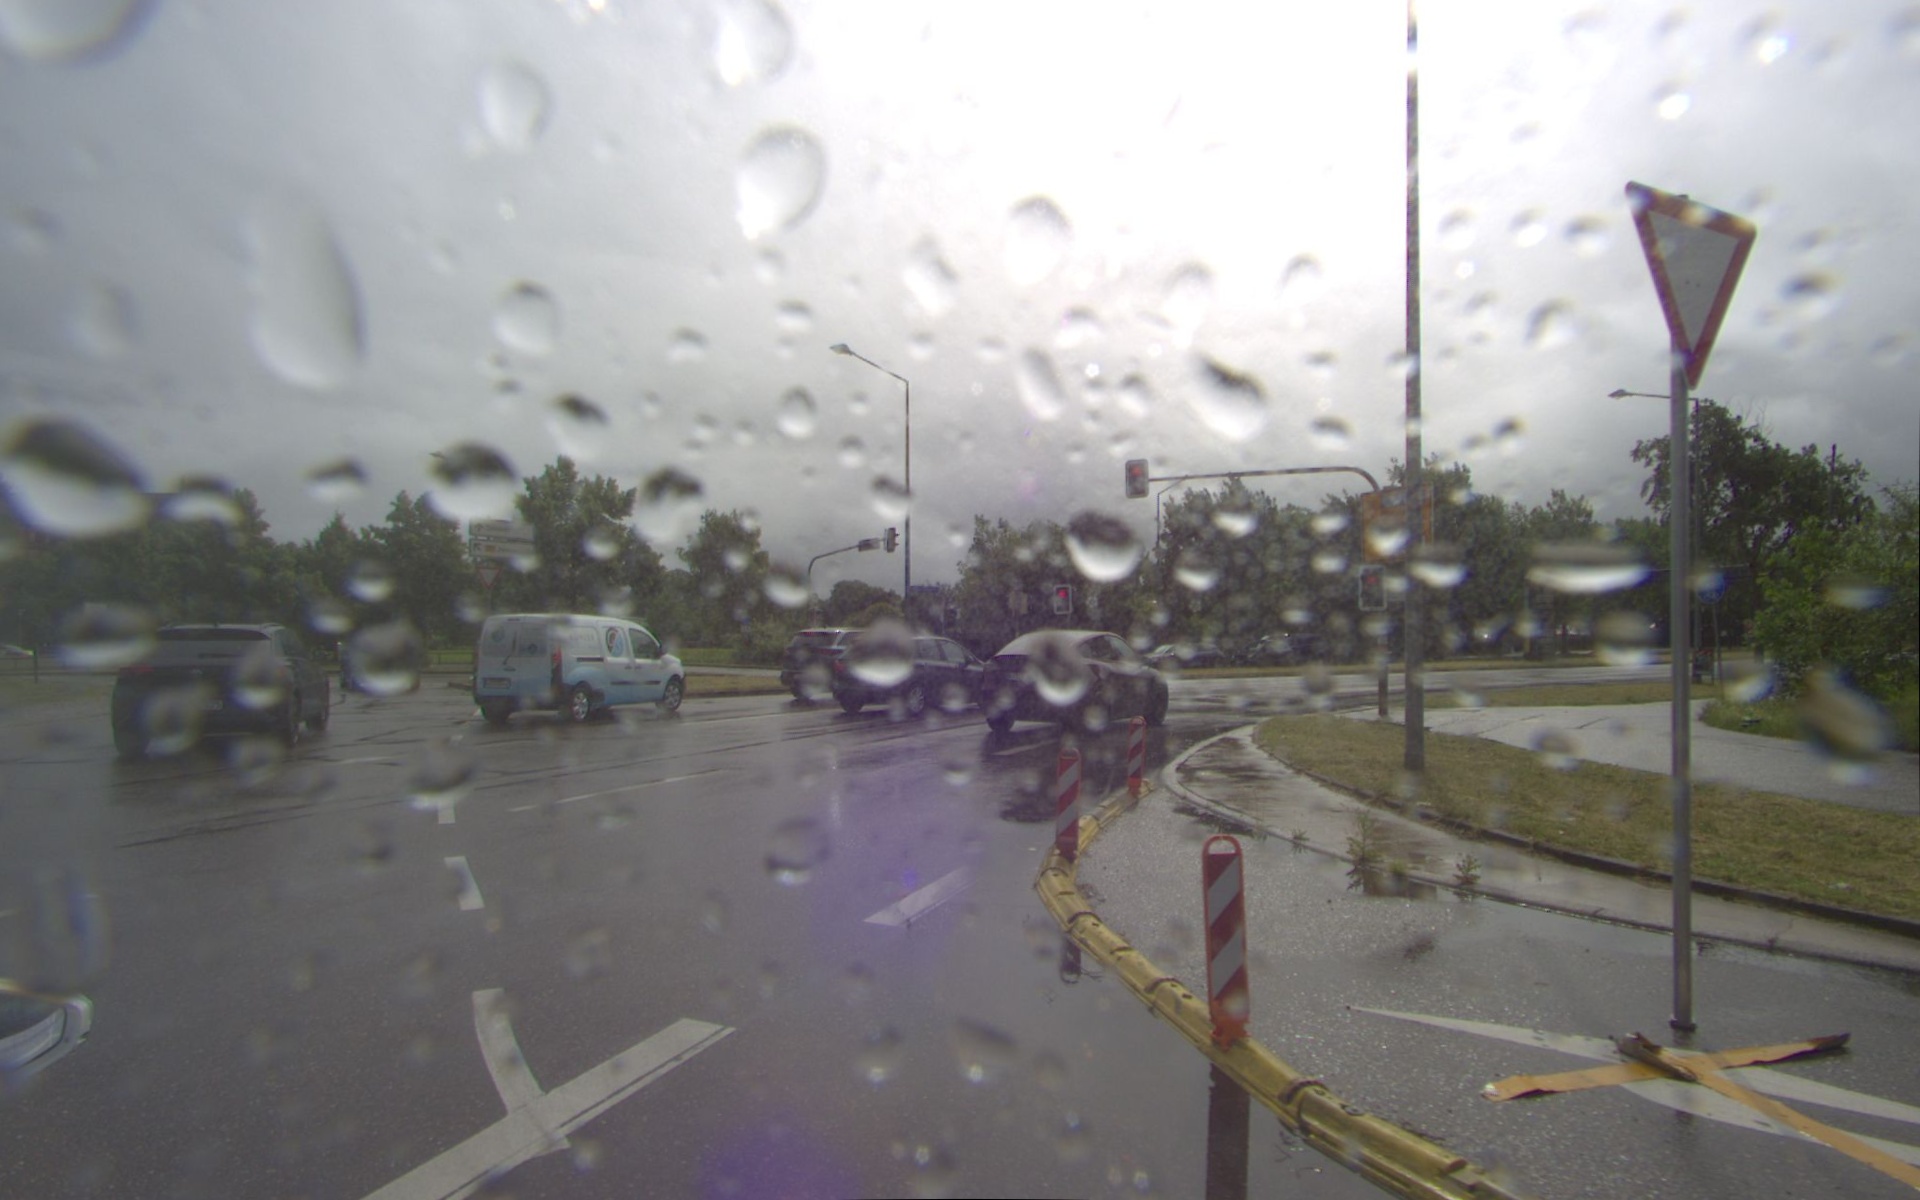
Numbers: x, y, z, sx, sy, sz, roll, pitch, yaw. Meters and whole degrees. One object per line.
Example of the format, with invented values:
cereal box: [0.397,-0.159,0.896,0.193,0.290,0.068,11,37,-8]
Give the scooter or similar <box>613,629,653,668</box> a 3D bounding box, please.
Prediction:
scooter or similar: [-17.718,2.653,54.143,1.223,2.038,3.391,3,-5,-32]

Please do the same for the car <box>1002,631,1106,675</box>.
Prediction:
car: [4.515,2.530,47.904,4.737,2.012,2.066,2,-2,-33]

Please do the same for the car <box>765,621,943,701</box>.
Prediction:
car: [-2.496,1.424,24.581,2.015,1.780,4.297,0,-2,35]

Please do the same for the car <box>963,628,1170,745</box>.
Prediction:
car: [1.956,1.332,16.942,1.847,1.678,4.481,0,-1,29]

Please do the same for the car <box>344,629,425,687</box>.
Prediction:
car: [-16.117,1.562,27.952,1.698,1.481,3.974,1,-1,-34]

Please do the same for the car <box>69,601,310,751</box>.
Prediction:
car: [-9.876,0.929,13.187,1.877,1.638,3.981,3,-3,-29]

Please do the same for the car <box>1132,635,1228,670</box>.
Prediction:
car: [10.497,2.462,47.700,4.426,1.555,1.857,1,-1,-32]

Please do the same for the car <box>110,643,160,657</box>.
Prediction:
car: [-91.214,5.514,110.735,3.901,1.579,1.851,0,-2,-3]

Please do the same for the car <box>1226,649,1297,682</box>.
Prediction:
car: [15.410,3.314,51.177,3.553,1.601,1.559,2,-2,-32]

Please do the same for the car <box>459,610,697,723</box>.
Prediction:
car: [-6.758,1.148,18.340,1.832,1.785,4.550,0,-2,13]

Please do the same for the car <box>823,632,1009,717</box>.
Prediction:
car: [-0.805,1.456,20.566,1.786,1.547,3.977,-1,-2,35]

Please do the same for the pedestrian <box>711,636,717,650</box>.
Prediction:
pedestrian: [-31.799,5.528,129.429,0.591,1.753,0.603,-2,-4,33]

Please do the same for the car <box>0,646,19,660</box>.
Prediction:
car: [-90.829,4.984,93.575,3.901,1.324,1.851,0,-2,-3]
